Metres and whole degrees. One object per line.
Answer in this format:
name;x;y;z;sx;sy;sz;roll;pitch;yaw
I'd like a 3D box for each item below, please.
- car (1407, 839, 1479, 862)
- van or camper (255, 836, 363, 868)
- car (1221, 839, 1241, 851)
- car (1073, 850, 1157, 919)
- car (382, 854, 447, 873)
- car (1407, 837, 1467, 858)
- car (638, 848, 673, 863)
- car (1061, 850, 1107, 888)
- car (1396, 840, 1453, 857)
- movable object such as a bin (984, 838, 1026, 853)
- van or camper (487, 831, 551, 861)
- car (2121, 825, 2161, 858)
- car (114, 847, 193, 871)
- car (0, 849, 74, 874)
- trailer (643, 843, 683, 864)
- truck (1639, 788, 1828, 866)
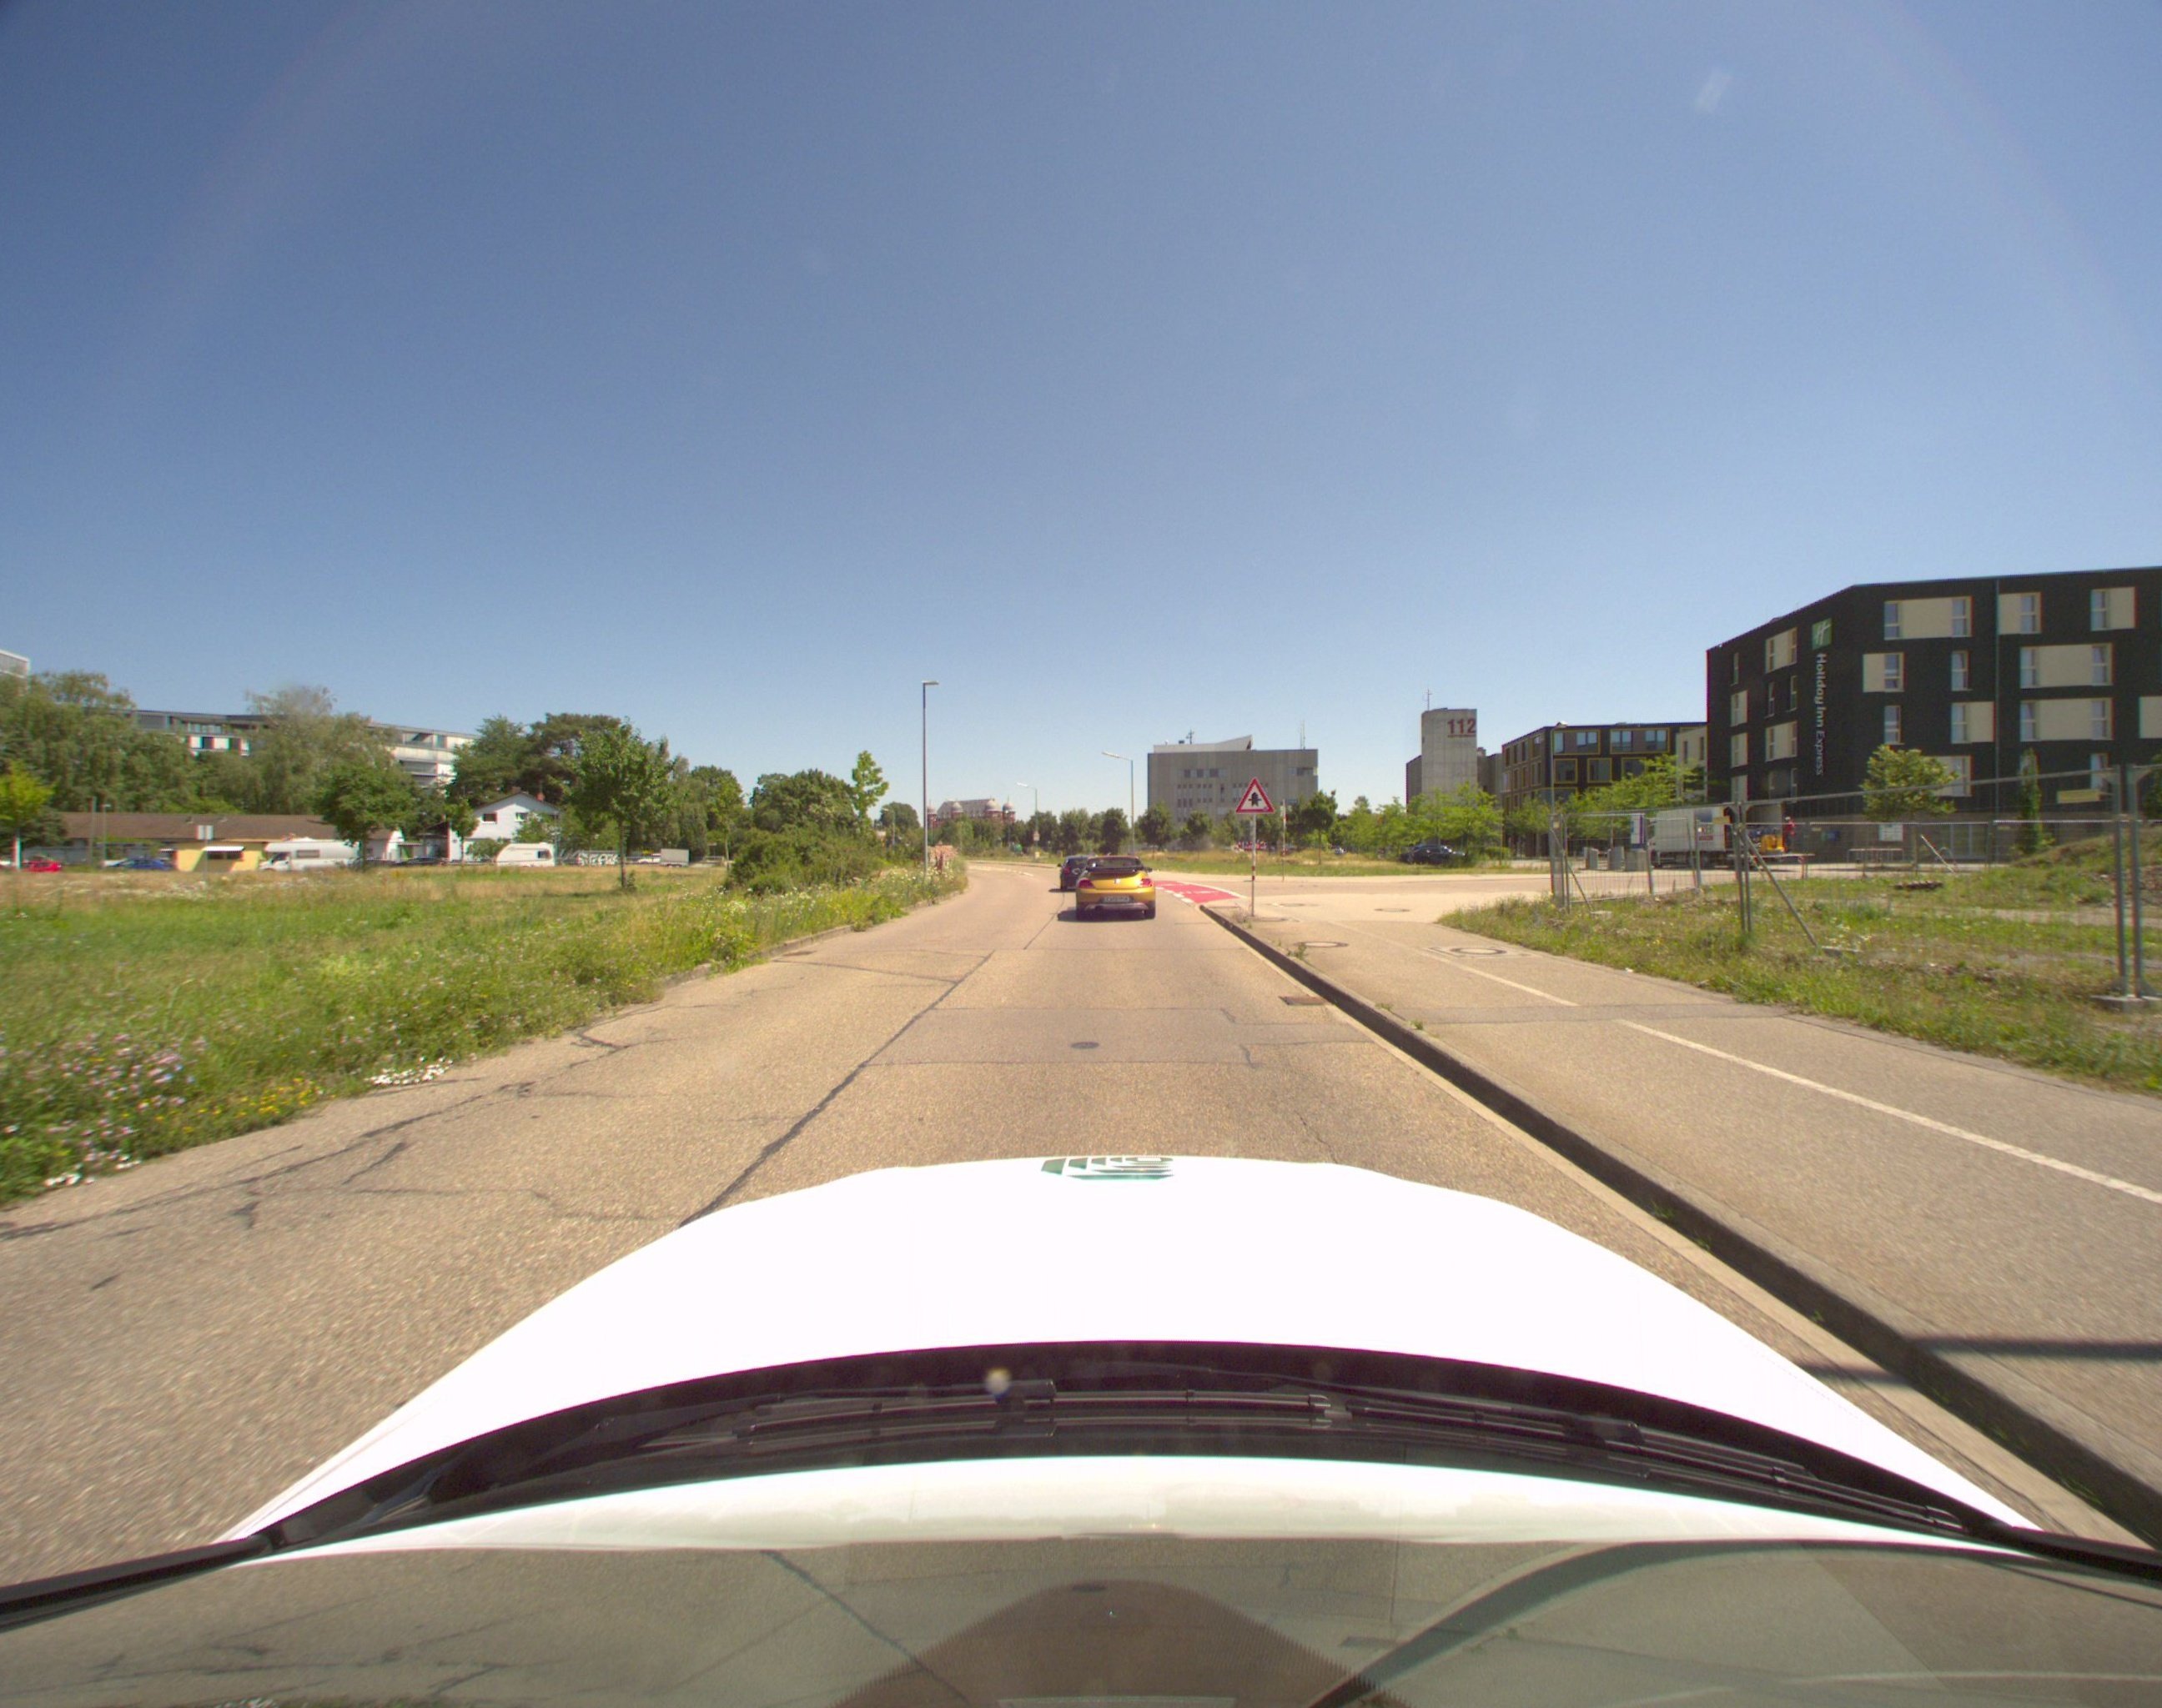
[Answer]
car;26.512;-0.254;59.797;4.465;1.562;2.038;0;0;10
van or camper;-63.415;-0.199;67.105;5.987;2.593;2.449;-1;0;-30
car;29.196;-1.778;158.576;3.816;2.294;1.748;-1;0;12
car;0.823;0.639;19.224;1.782;1.436;3.817;0;1;3
car;-57.582;0.770;70.419;4.008;1.552;1.899;-1;1;-26
car;28.060;-0.501;64.377;4.031;1.652;1.961;0;0;11
car;-46.174;0.190;88.393;3.352;1.577;1.757;-1;1;-27
car;0.049;0.557;32.864;1.722;1.443;3.997;-1;0;-2
car;29.169;-0.475;69.260;4.092;1.444;1.966;-1;0;6
movable object such as a bin;-16.430;-1.772;174.673;4.972;3.260;10.365;-1;0;-31
van or camper;-51.183;-0.717;74.246;4.477;2.591;2.470;1;0;-29
car;48.790;-0.546;35.905;1.679;1.453;3.593;-1;1;11
car;-70.923;0.377;62.361;3.592;1.772;1.740;-1;0;-32
car;-76.483;0.506;59.285;3.592;1.772;1.740;-1;0;-32
trailer;-41.161;-0.043;80.268;3.434;2.045;1.744;-1;0;-28
truck;34.320;-1.297;43.726;2.987;3.461;12.186;-2;0;14
